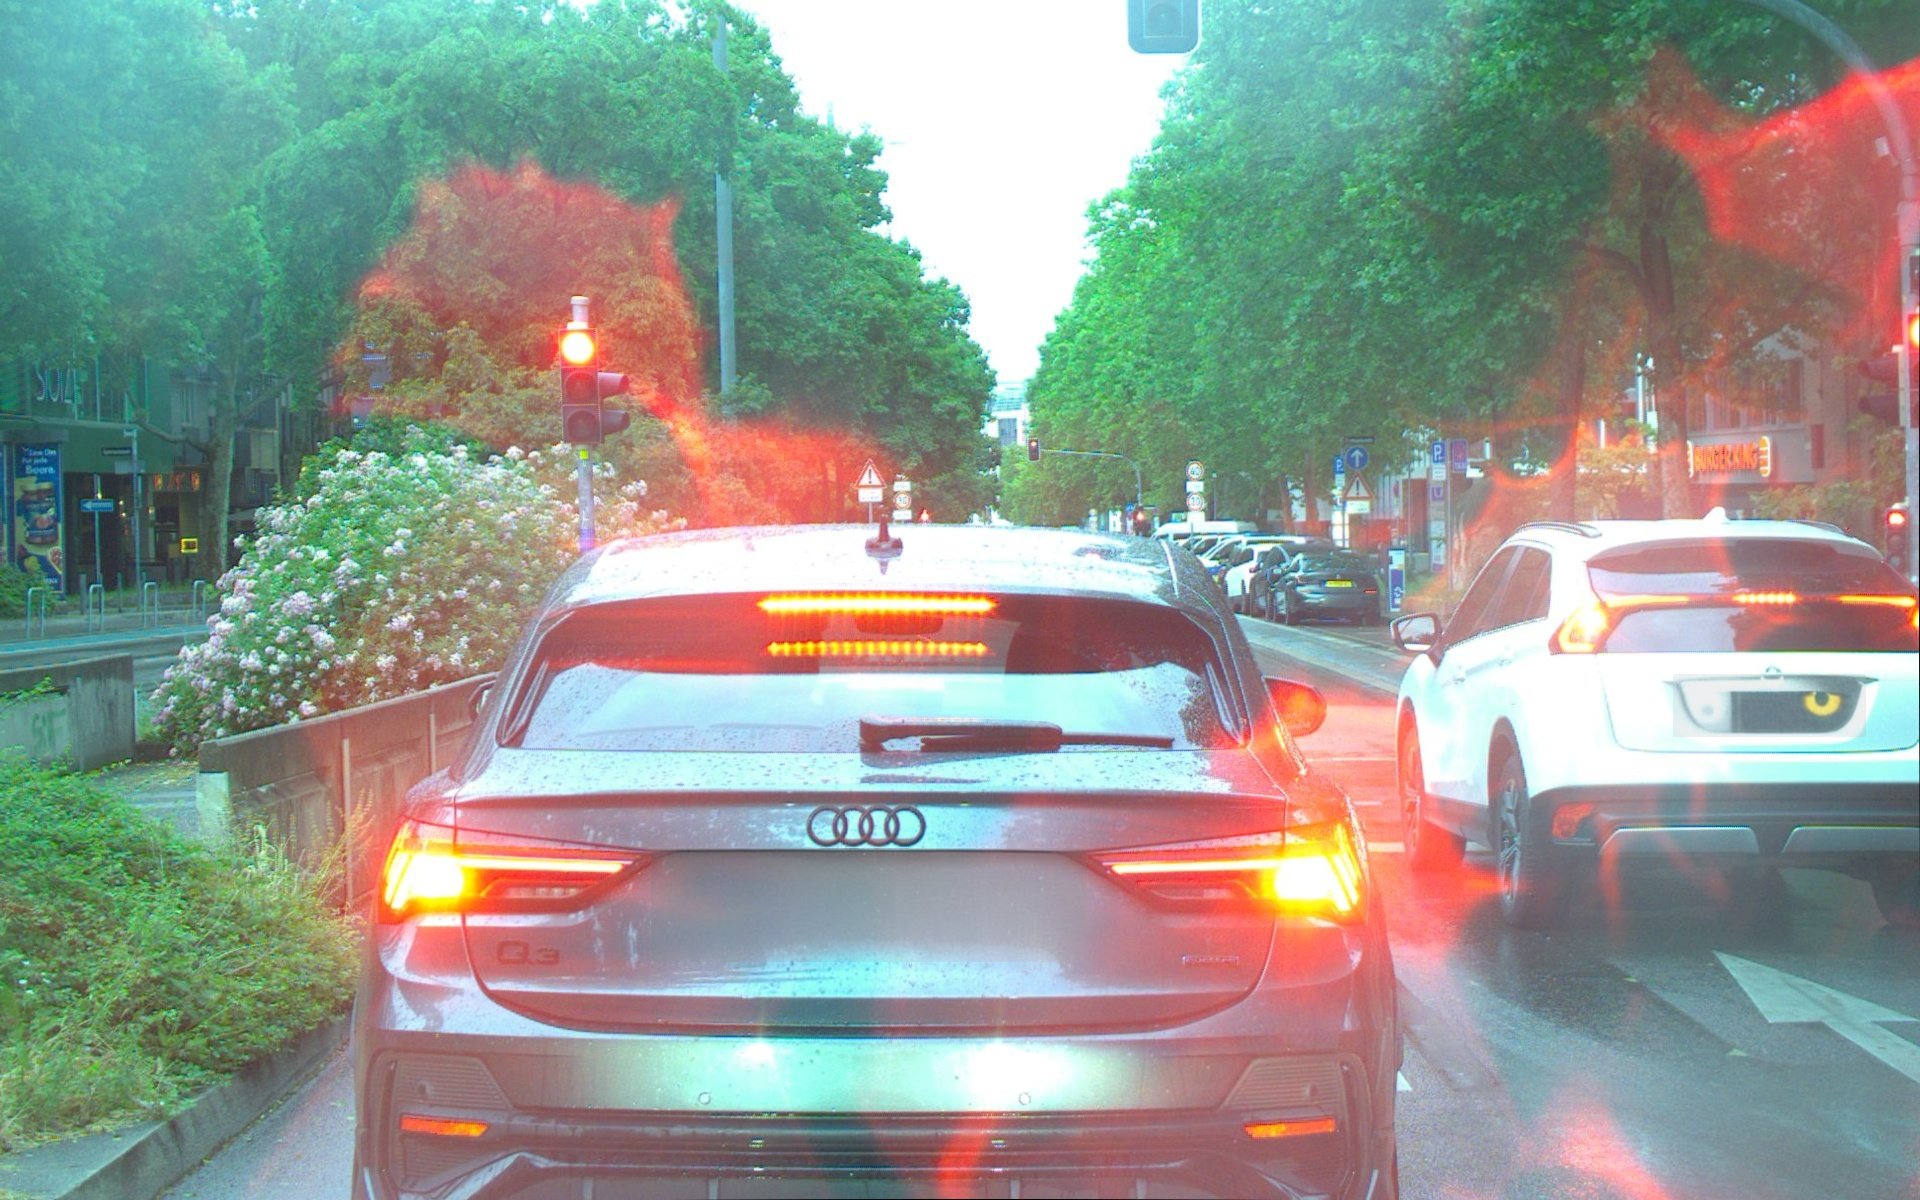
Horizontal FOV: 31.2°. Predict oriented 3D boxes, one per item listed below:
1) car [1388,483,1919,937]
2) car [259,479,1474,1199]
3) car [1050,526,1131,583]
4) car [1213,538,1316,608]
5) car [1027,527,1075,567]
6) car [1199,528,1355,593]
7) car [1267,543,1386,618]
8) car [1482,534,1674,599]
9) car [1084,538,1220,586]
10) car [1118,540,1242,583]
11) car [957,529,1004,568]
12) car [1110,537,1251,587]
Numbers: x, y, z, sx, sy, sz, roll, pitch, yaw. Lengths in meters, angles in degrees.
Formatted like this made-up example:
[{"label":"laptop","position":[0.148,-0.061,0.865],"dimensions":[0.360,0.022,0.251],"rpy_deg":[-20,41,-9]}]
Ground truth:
[{"label":"car","position":[3.052,0.404,14.954],"dimensions":[1.878,1.691,4.000],"rpy_deg":[1,0,0]},{"label":"car","position":[-0.166,0.584,7.242],"dimensions":[1.849,1.596,4.000],"rpy_deg":[0,1,-1]},{"label":"car","position":[4.032,-1.409,107.010],"dimensions":[1.993,1.721,4.001],"rpy_deg":[1,0,-5]},{"label":"car","position":[6.987,-0.621,79.294],"dimensions":[1.727,1.566,4.074],"rpy_deg":[1,0,-4]},{"label":"car","position":[3.928,-2.284,149.366],"dimensions":[1.993,1.645,4.000],"rpy_deg":[1,0,1]},{"label":"car","position":[10.033,-1.256,108.971],"dimensions":[4.602,2.007,1.964],"rpy_deg":[1,0,39]},{"label":"car","position":[7.260,-0.403,68.524],"dimensions":[1.873,1.416,4.611],"rpy_deg":[1,1,0]},{"label":"car","position":[10.529,-0.569,58.615],"dimensions":[2.889,1.071,1.453],"rpy_deg":[1,0,32]},{"label":"car","position":[7.150,-1.416,127.973],"dimensions":[4.646,1.700,1.997],"rpy_deg":[1,0,28]},{"label":"car","position":[8.986,-1.563,140.597],"dimensions":[4.646,1.700,1.997],"rpy_deg":[1,0,28]},{"label":"car","position":[0.830,-2.162,144.515],"dimensions":[1.896,1.593,3.939],"rpy_deg":[1,0,-1]},{"label":"car","position":[7.897,-1.367,123.185],"dimensions":[4.646,1.700,1.997],"rpy_deg":[1,0,28]}]
